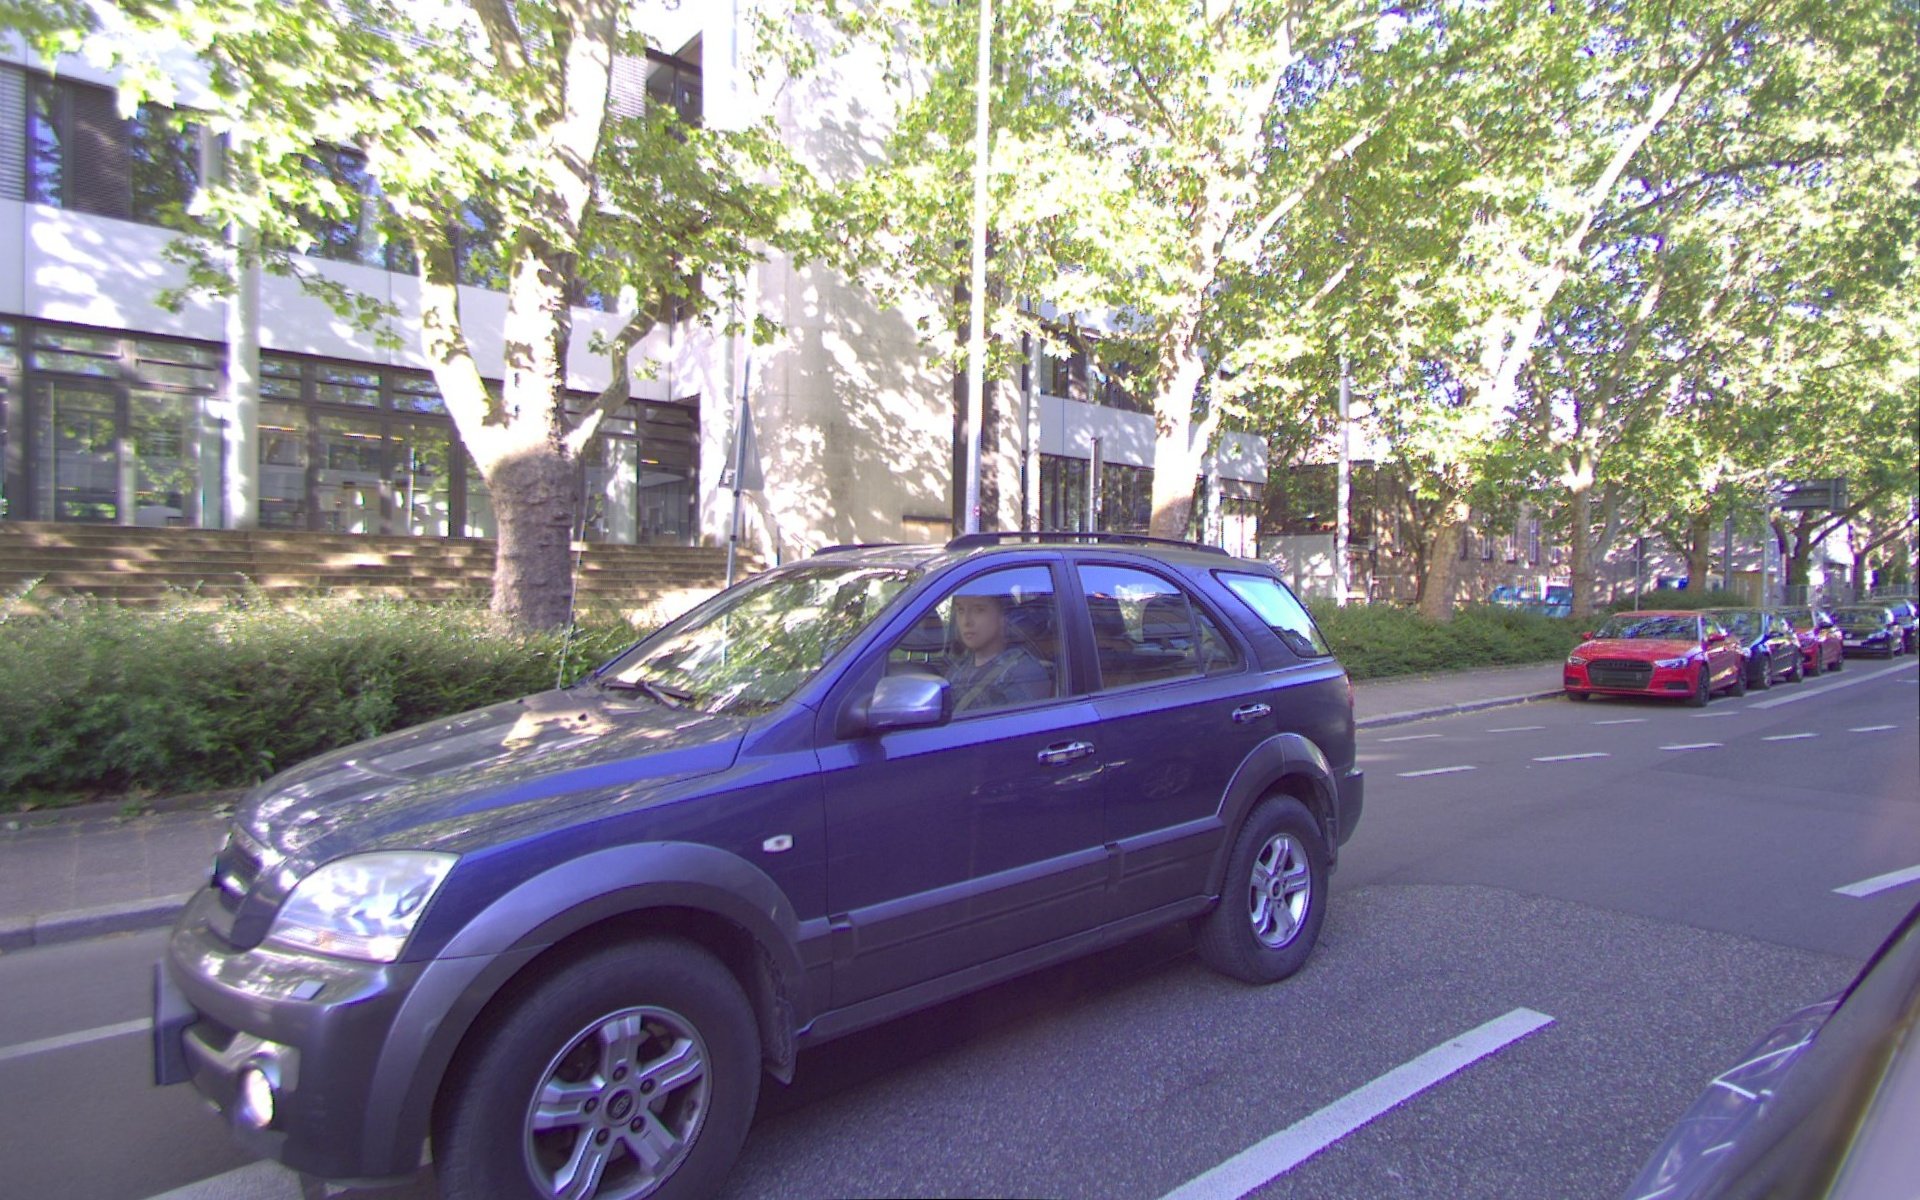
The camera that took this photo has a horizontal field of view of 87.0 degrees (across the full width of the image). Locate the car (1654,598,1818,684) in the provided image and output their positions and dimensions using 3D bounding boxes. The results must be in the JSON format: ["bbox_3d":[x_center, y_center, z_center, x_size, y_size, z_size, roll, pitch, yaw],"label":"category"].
[{"bbox_3d":[14.796,0.712,19.232,4.022,1.472,1.739,0,-1,-42],"label":"car"}]

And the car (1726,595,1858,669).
[{"bbox_3d":[18.602,0.671,22.571,3.851,1.511,1.679,0,-1,-42],"label":"car"}]

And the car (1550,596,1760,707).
[{"bbox_3d":[11.180,0.735,16.184,4.071,1.548,1.827,0,-1,-42],"label":"car"}]

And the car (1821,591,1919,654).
[{"bbox_3d":[25.917,0.573,28.716,4.022,1.653,1.739,0,1,-42],"label":"car"}]

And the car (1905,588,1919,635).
[{"bbox_3d":[38.842,0.464,40.084,3.829,1.818,1.739,0,1,-42],"label":"car"}]

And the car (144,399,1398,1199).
[{"bbox_3d":[-0.261,0.565,3.789,4.308,1.793,1.783,0,-1,-41],"label":"car"}]

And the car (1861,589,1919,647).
[{"bbox_3d":[29.728,0.532,31.848,3.840,1.708,1.633,0,1,-42],"label":"car"}]
